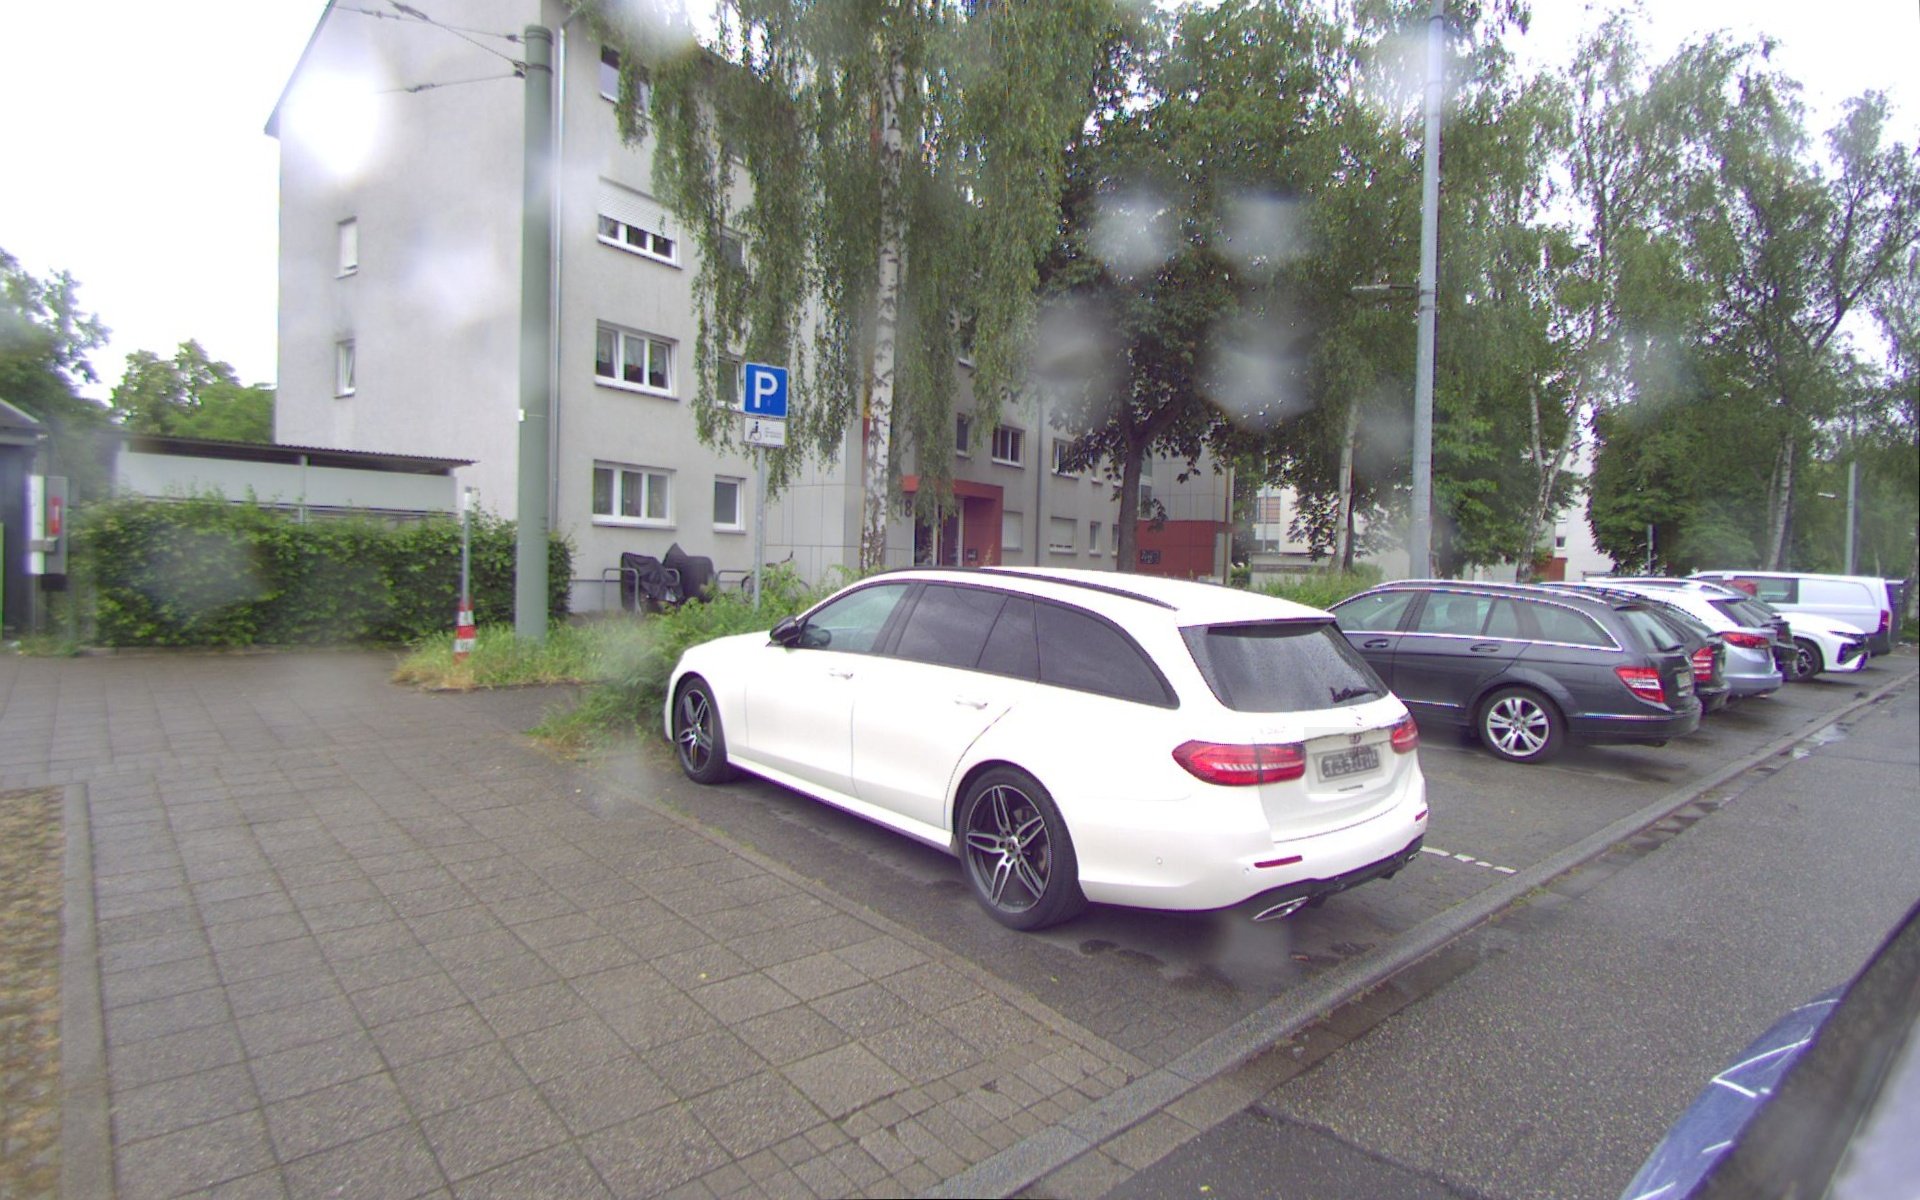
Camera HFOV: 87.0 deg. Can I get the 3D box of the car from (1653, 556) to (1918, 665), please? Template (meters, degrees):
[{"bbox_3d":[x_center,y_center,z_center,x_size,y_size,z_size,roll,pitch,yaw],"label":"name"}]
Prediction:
[{"bbox_3d":[17.551,0.136,21.671,4.172,1.888,1.654,7,5,43],"label":"car"}]

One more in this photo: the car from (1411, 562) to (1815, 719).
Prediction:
[{"bbox_3d":[8.236,0.375,13.051,1.653,1.514,4.044,-1,5,-43],"label":"car"}]

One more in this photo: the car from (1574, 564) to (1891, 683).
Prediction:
[{"bbox_3d":[13.701,0.310,18.175,1.651,1.637,4.181,0,5,-40],"label":"car"}]

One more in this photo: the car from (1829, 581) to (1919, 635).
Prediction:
[{"bbox_3d":[34.449,0.268,36.830,1.866,1.937,3.998,-1,0,-36],"label":"car"}]

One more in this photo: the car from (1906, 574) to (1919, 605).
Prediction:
[{"bbox_3d":[53.220,-0.570,53.823,1.866,1.701,3.998,-1,1,-36],"label":"car"}]

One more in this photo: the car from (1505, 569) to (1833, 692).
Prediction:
[{"bbox_3d":[11.319,0.378,16.379,1.653,1.514,4.044,-1,5,-43],"label":"car"}]

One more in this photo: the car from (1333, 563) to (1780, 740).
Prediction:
[{"bbox_3d":[6.600,0.417,11.548,1.653,1.456,4.044,-1,5,-43],"label":"car"}]

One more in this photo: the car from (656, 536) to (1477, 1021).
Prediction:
[{"bbox_3d":[0.086,0.474,5.612,1.651,1.456,4.623,-1,5,-41],"label":"car"}]

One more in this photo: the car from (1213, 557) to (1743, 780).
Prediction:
[{"bbox_3d":[4.611,0.429,9.481,1.653,1.456,4.044,-1,5,-43],"label":"car"}]

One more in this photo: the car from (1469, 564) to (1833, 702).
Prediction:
[{"bbox_3d":[9.872,0.346,14.699,1.653,1.514,4.044,-1,5,-43],"label":"car"}]

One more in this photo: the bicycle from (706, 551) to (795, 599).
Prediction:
[{"bbox_3d":[-4.520,-0.531,21.976,0.701,1.005,1.918,0,0,37],"label":"bicycle"}]

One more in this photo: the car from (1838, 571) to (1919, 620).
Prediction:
[{"bbox_3d":[37.783,-0.187,40.280,1.866,1.937,3.998,-1,0,-36],"label":"car"}]
